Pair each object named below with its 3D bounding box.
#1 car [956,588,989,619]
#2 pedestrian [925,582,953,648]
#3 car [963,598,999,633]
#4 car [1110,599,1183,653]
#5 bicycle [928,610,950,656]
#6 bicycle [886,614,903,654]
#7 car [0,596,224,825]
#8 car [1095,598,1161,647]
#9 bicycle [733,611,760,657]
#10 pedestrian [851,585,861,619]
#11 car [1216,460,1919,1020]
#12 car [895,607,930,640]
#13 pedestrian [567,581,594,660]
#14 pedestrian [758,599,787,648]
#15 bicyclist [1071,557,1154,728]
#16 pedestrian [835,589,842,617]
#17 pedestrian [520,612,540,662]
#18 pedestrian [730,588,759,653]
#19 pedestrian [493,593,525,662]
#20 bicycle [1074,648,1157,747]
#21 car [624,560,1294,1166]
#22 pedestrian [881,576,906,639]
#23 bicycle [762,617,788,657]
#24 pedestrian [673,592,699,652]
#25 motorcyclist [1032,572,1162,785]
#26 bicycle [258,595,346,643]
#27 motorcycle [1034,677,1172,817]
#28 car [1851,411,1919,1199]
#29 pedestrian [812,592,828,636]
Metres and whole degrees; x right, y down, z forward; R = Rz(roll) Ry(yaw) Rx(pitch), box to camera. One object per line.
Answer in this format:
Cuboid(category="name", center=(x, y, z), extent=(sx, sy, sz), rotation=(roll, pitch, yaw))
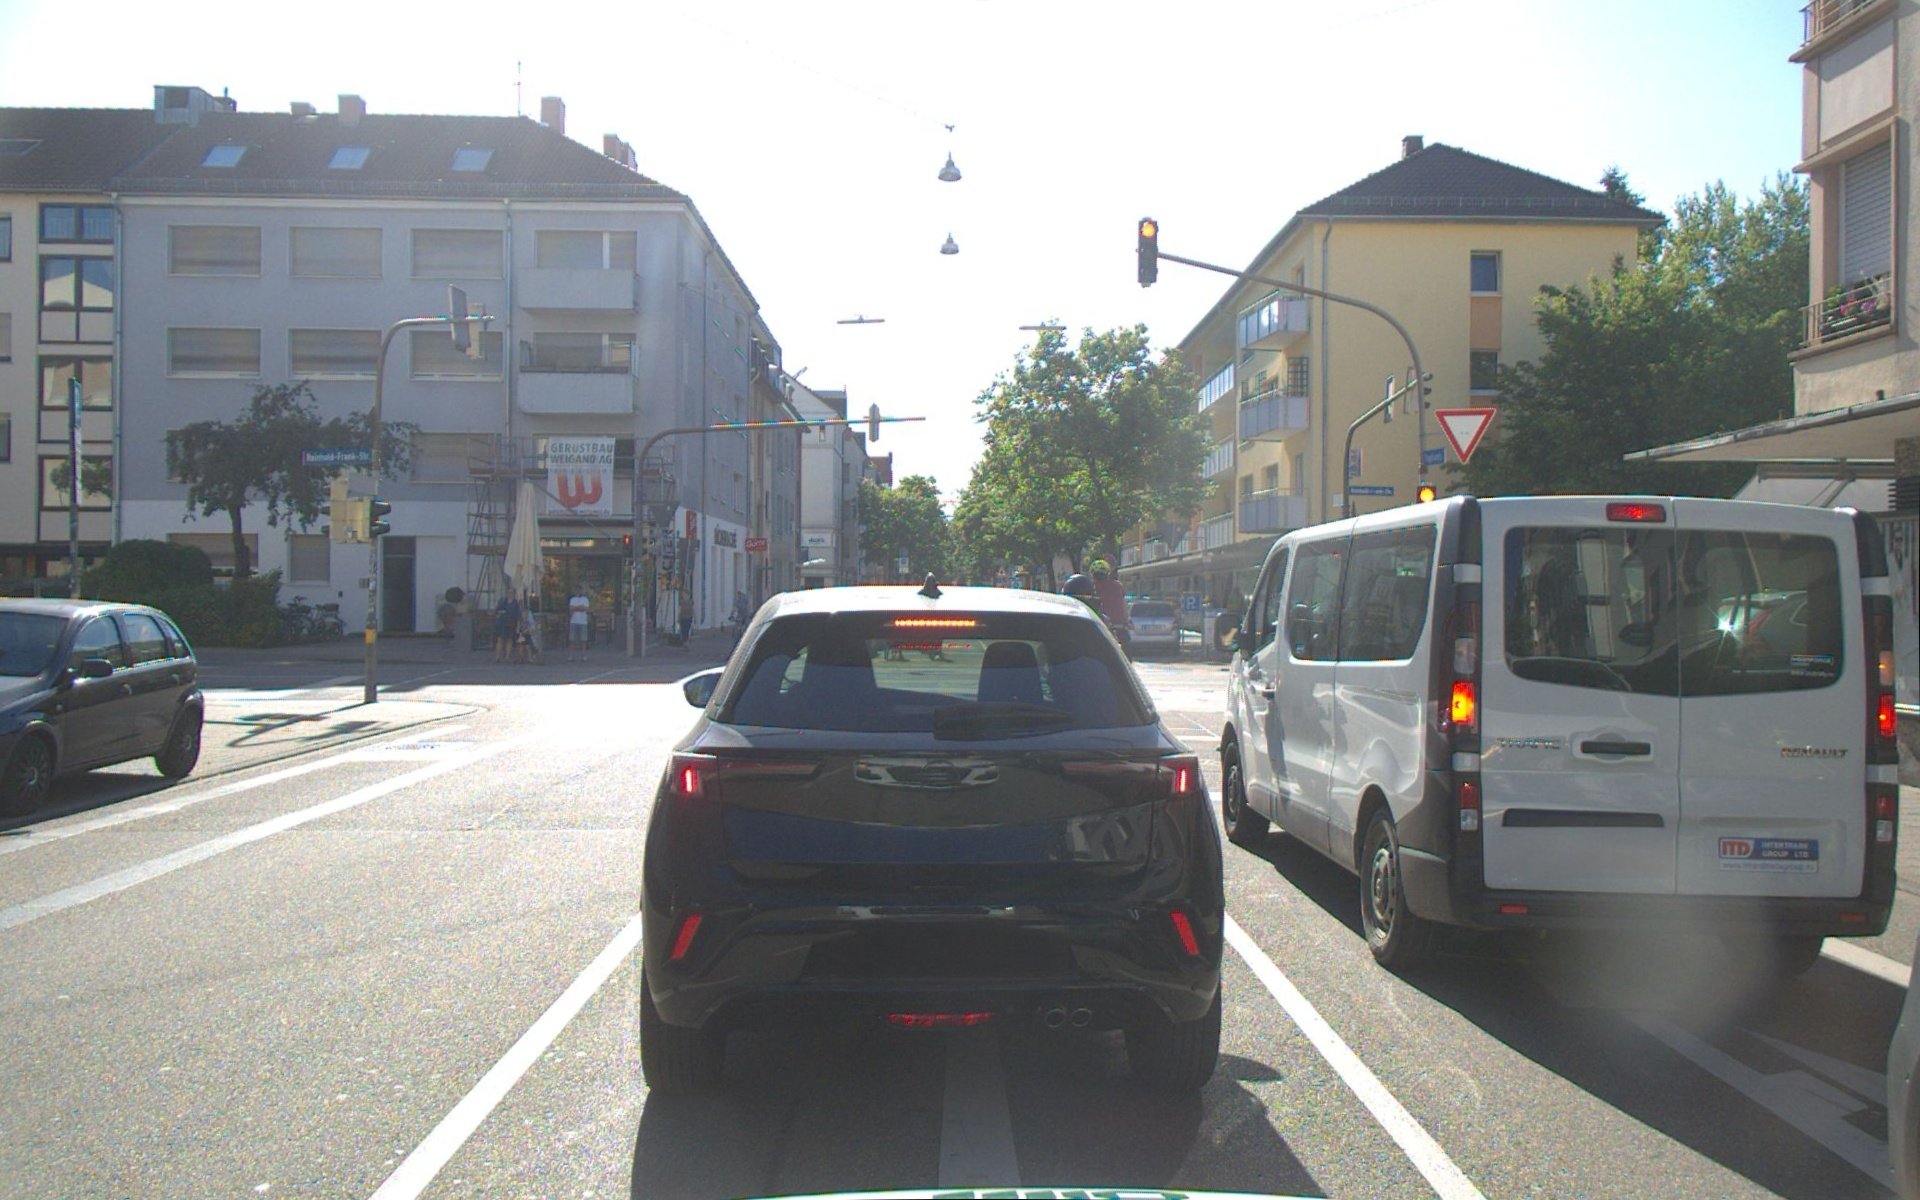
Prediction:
Cuboid(category="car", center=(0.721, 0.171, 96.065), extent=(1.863, 1.758, 4.000), rotation=(0, 0, 0))
Cuboid(category="pedestrian", center=(-0.560, 0.387, 43.430), extent=(0.692, 1.731, 0.802), rotation=(0, 0, -3))
Cuboid(category="car", center=(1.071, 0.765, 86.235), extent=(1.863, 1.758, 4.073), rotation=(0, 0, 0))
Cuboid(category="car", center=(5.293, 0.724, 47.347), extent=(1.601, 1.458, 3.956), rotation=(0, 0, -1))
Cuboid(category="bicycle", center=(-0.567, 0.852, 43.436), extent=(0.511, 1.167, 2.169), rotation=(0, 0, -3))
Cuboid(category="bicycle", center=(-1.758, 0.889, 44.029), extent=(0.434, 1.010, 2.068), rotation=(0, 0, -3))
Cuboid(category="car", center=(-7.107, 0.723, 12.345), extent=(1.584, 1.450, 3.709), rotation=(2, 0, -1))
Cuboid(category="car", center=(5.248, 0.670, 51.972), extent=(1.601, 1.458, 3.999), rotation=(0, 0, -1))
Cuboid(category="bicycle", center=(-5.655, 0.883, 43.880), extent=(0.511, 1.167, 2.282), rotation=(0, 0, -3))
Cuboid(category="pedestrian", center=(-5.179, 0.099, 82.619), extent=(0.478, 1.719, 0.588), rotation=(0, 0, -1))
Cuboid(category="car", center=(2.722, 0.510, 8.528), extent=(1.953, 2.014, 4.894), rotation=(1, 0, -1))
Cuboid(category="car", center=(-2.621, 1.274, 92.316), extent=(1.787, 1.758, 4.000), rotation=(0, 0, 1))
Cuboid(category="pedestrian", center=(-8.690, 0.464, 37.911), extent=(0.550, 1.806, 0.582), rotation=(1, 0, -9))
Cuboid(category="pedestrian", center=(-4.919, 0.617, 43.472), extent=(0.692, 1.275, 0.802), rotation=(0, 0, -3))
Cuboid(category="bicyclist", center=(1.603, 0.435, 17.557), extent=(0.675, 1.742, 1.413), rotation=(0, 0, -3))
Cuboid(category="pedestrian", center=(-7.629, 0.188, 103.908), extent=(0.394, 1.704, 0.417), rotation=(0, 0, -1))
Cuboid(category="pedestrian", center=(-9.696, 0.825, 37.331), extent=(0.348, 1.111, 0.461), rotation=(0, 0, -4))
Cuboid(category="pedestrian", center=(-5.682, 0.541, 43.592), extent=(0.692, 1.707, 0.802), rotation=(0, 0, -3))
Cuboid(category="pedestrian", center=(-10.161, 0.612, 37.270), extent=(0.573, 1.547, 0.649), rotation=(0, 0, -4))
Cuboid(category="bicycle", center=(1.641, 1.013, 17.752), extent=(0.565, 0.920, 2.300), rotation=(0, 0, -3))
Cuboid(category="car", center=(-0.080, 0.674, 6.298), extent=(1.735, 1.557, 3.998), rotation=(0, 0, -3))
Cuboid(category="pedestrian", center=(-1.759, 0.192, 43.720), extent=(0.666, 1.634, 0.762), rotation=(0, 0, -3))
Cuboid(category="bicycle", center=(-4.885, 0.970, 43.785), extent=(0.511, 1.010, 2.338), rotation=(0, 0, -3))
Cuboid(category="pedestrian", center=(-7.171, 0.571, 43.304), extent=(0.605, 1.547, 0.724), rotation=(0, 0, -4))
Cuboid(category="motorcyclist", center=(1.012, 0.566, 12.462), extent=(0.846, 1.528, 1.159), rotation=(0, 0, -2))
Cuboid(category="bicycle", center=(-16.897, 0.479, 42.460), extent=(2.067, 1.193, 0.735), rotation=(0, 0, -25))
Cuboid(category="motorcycle", center=(1.014, 1.041, 12.180), extent=(0.808, 0.860, 1.884), rotation=(0, 0, -1))
Cuboid(category="car", center=(3.016, 0.574, 1.221), extent=(1.800, 1.901, 4.993), rotation=(0, 0, -4))
Cuboid(category="pedestrian", center=(-5.499, 0.552, 65.017), extent=(0.558, 1.719, 0.588), rotation=(0, 0, -1))
